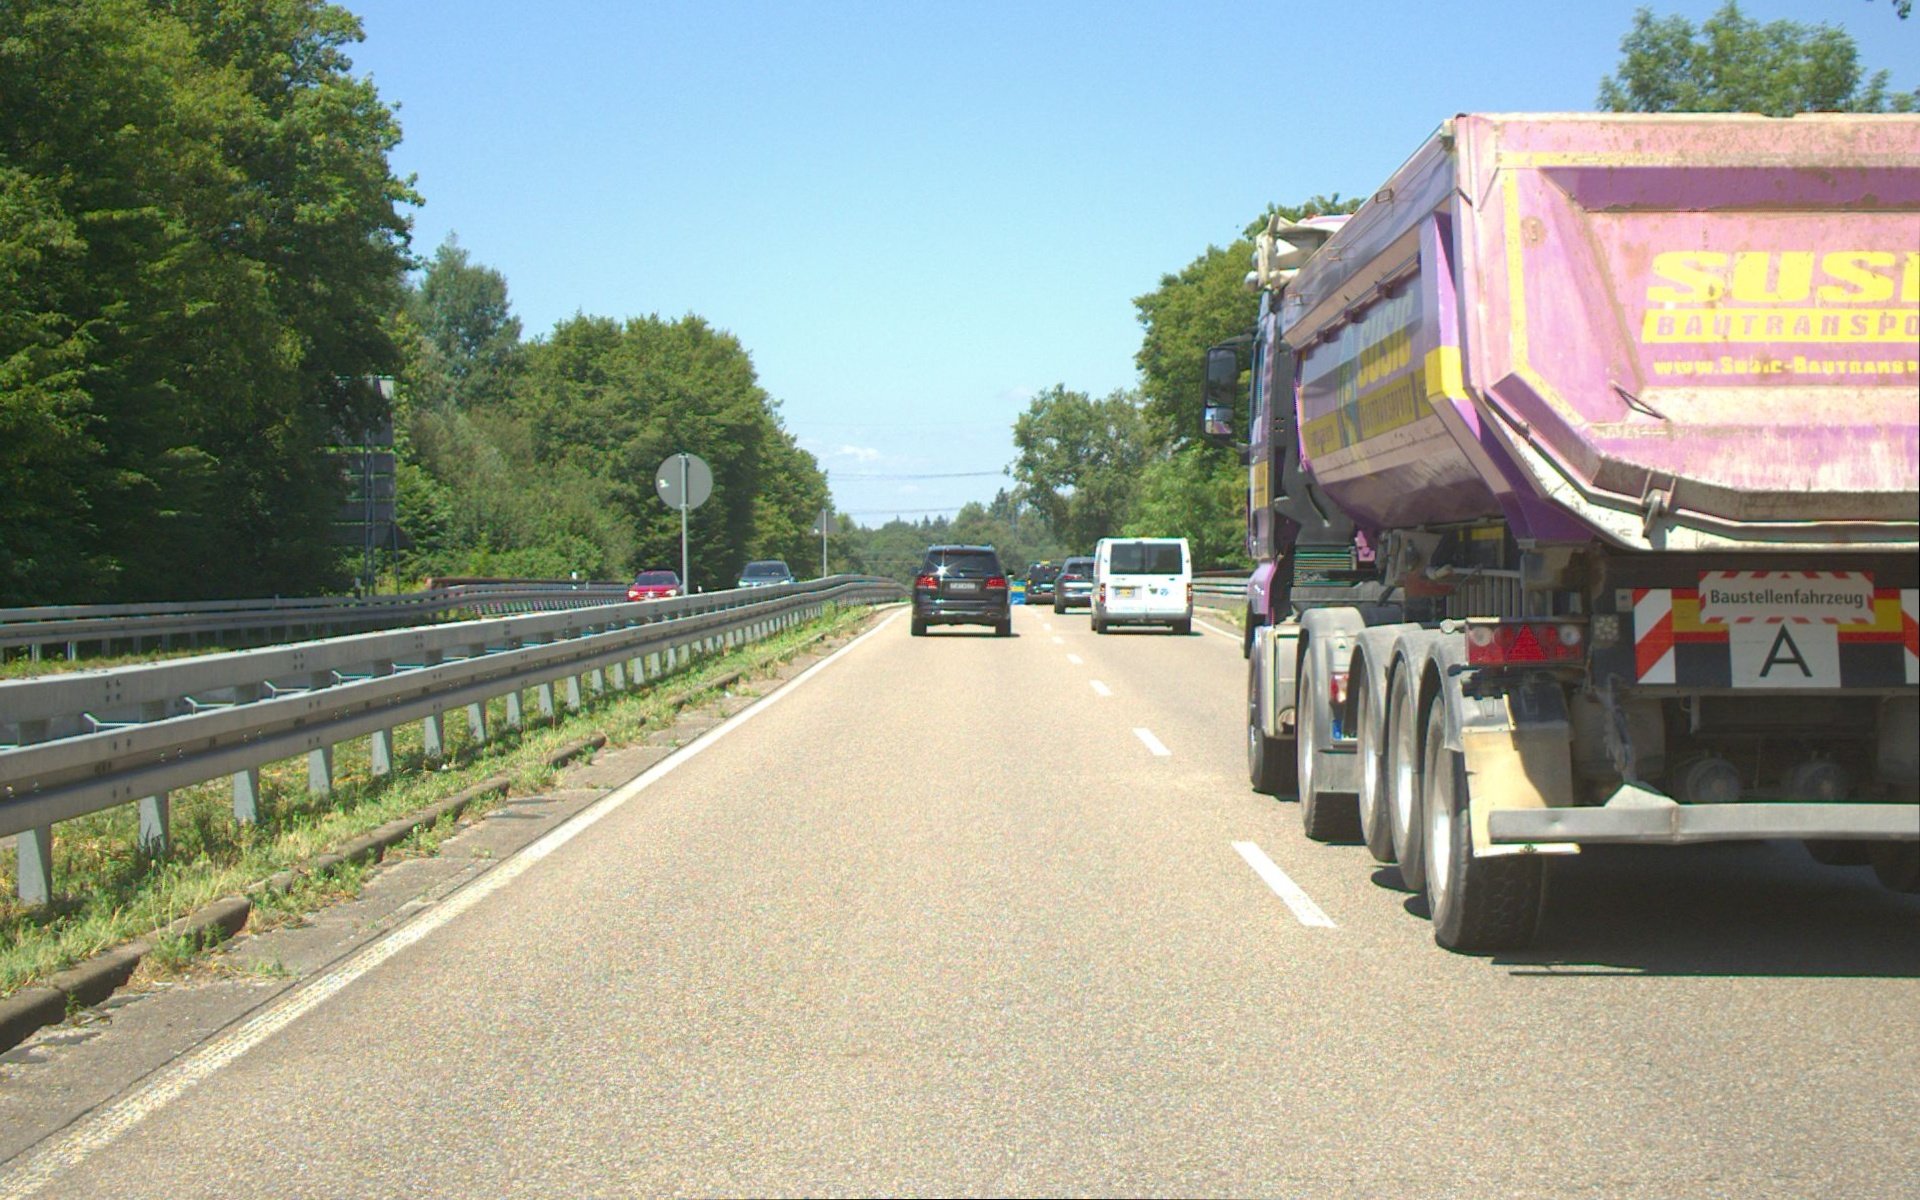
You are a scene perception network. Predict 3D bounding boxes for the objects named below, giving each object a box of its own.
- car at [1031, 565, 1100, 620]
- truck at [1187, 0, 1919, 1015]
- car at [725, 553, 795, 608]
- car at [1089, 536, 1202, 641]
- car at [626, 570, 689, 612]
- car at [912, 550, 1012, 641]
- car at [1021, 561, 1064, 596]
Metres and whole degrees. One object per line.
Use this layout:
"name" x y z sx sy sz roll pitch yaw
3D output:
"car" 2.838 -0.212 92.681 1.603 1.415 3.523 -1 1 -2
"truck" 2.999 -0.630 17.771 2.720 3.917 12.370 1 1 0
"car" -6.805 -0.687 117.344 1.993 1.788 4.748 -1 1 1
"car" 3.817 -0.254 71.321 1.993 2.070 4.000 -1 1 -1
"car" -10.322 -0.324 117.605 1.797 1.386 4.000 -1 1 0
"car" 0.020 -0.060 67.131 1.857 1.666 4.000 1 -1 -1
"car" 3.495 -0.911 145.590 1.603 1.415 3.523 -1 1 -2
